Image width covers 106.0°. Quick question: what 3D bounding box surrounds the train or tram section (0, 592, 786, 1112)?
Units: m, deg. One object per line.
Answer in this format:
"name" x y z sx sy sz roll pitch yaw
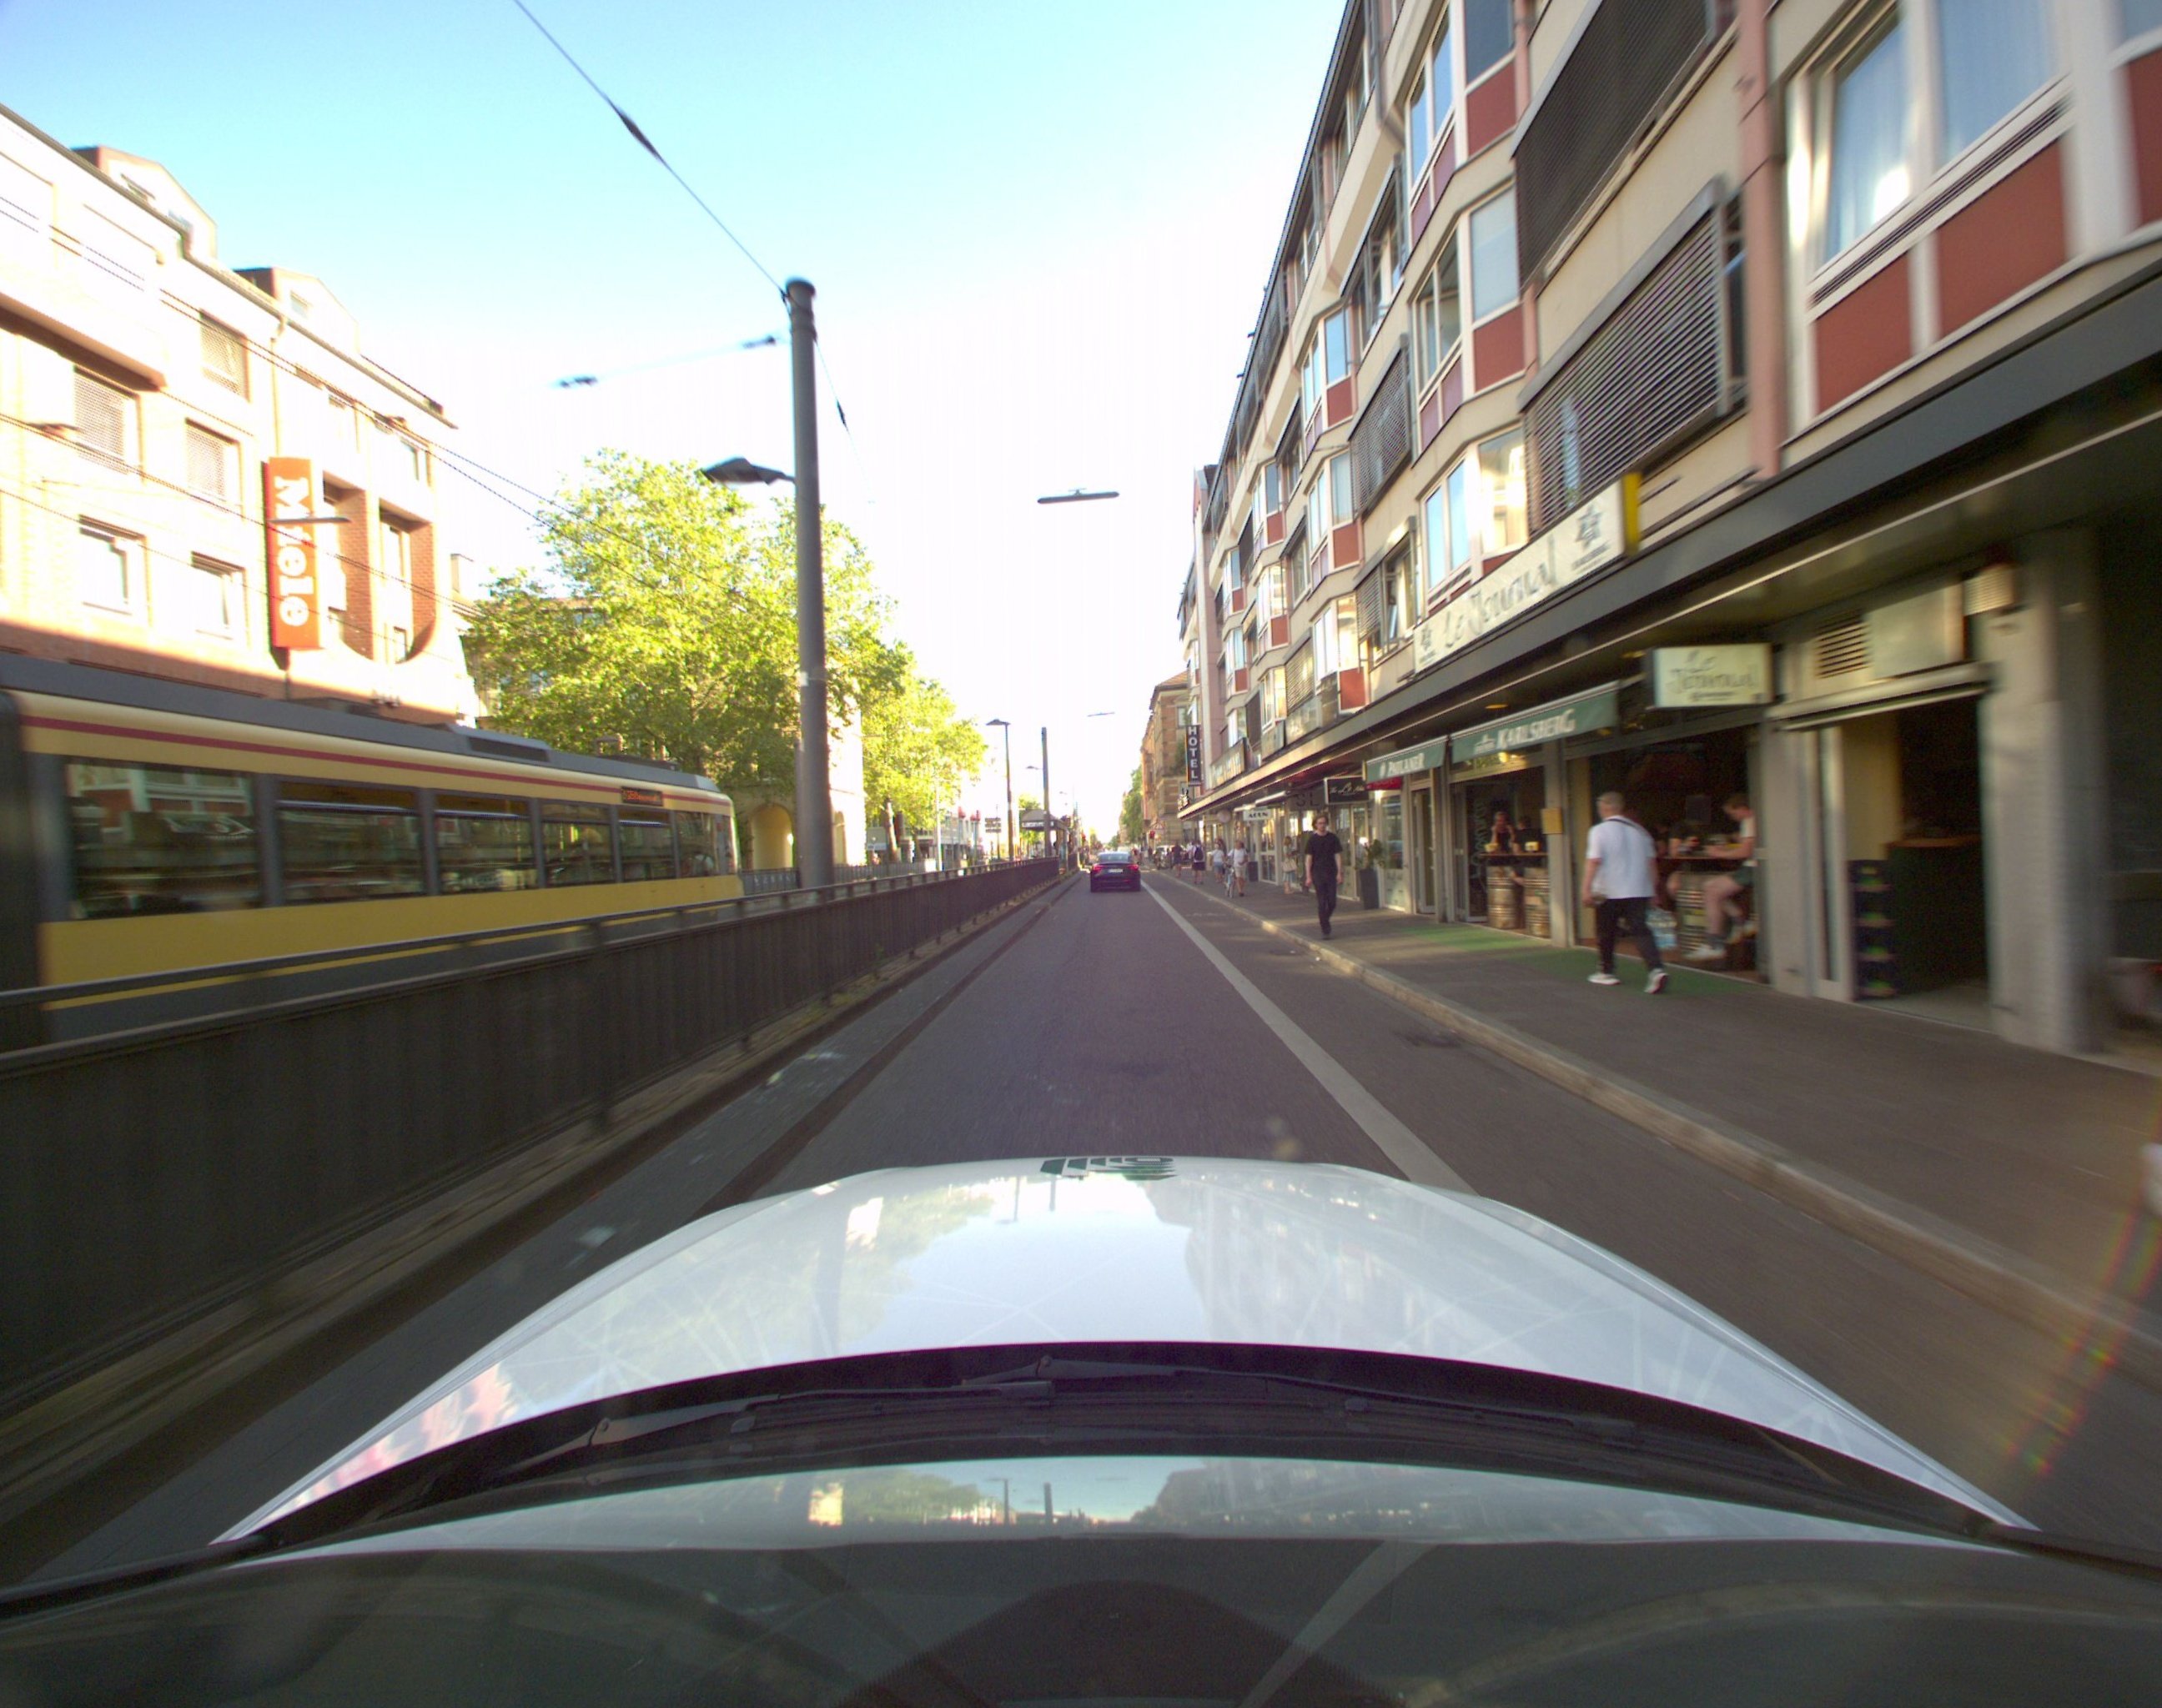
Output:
"train or tram section" -8.844 -0.099 11.124 2.962 3.644 16.496 -1 1 2

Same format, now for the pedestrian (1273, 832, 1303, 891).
"pedestrian" 5.741 0.209 22.595 0.598 1.590 0.554 -3 0 1

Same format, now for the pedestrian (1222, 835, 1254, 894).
"pedestrian" 4.568 0.302 23.741 0.660 1.630 0.705 -5 0 1

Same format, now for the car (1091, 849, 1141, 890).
"car" 1.276 0.536 30.497 1.713 1.405 3.711 -1 0 1

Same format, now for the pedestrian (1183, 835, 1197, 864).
"pedestrian" 7.873 -0.311 58.700 0.709 1.985 0.948 -3 -5 27

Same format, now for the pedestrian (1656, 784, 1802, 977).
"pedestrian" 5.909 0.232 7.461 0.723 1.636 0.639 -5 0 3

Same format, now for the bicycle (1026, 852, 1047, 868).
"bicycle" -4.409 0.556 80.091 1.959 1.516 0.629 -2 0 -27

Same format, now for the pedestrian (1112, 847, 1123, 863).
"pedestrian" 3.740 0.125 83.280 0.834 1.548 0.703 -2 0 29

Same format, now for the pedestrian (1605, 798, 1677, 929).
"pedestrian" 7.125 0.117 10.383 0.517 1.607 0.543 -2 0 7

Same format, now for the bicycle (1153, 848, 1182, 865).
"bicycle" 6.218 0.151 58.655 1.939 1.107 0.564 -3 0 0

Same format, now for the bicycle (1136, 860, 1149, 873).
"bicycle" 5.428 1.081 71.594 0.647 1.139 2.089 -2 0 -9

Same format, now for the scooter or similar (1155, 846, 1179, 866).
"scooter or similar" 5.847 0.144 55.329 1.473 1.229 0.592 -4 0 2

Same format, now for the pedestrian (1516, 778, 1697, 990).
"pedestrian" 4.847 0.258 7.603 0.903 1.775 1.050 -5 0 2

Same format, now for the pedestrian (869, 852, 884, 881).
"pedestrian" -14.788 0.908 58.876 0.695 2.013 0.693 -2 0 22

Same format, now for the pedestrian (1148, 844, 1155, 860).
"pedestrian" 7.761 -0.197 89.510 0.464 1.728 0.591 -3 1 38

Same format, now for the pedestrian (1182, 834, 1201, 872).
"pedestrian" 5.520 -0.051 40.559 0.703 1.820 0.764 -5 0 2

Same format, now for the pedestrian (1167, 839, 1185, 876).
"pedestrian" 4.719 0.166 40.285 0.665 1.728 0.810 -5 0 1

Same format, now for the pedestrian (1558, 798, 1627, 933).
"pedestrian" 6.414 0.141 10.228 0.513 1.632 0.523 -2 0 7

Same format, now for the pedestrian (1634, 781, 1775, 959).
"pedestrian" 6.289 0.151 8.252 0.770 1.674 0.696 -5 0 0

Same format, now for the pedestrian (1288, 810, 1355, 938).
"pedestrian" 3.720 0.292 12.654 0.672 1.861 0.993 -4 0 3

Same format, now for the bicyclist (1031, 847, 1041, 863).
"bicyclist" -4.440 0.091 80.081 0.683 1.516 0.629 -2 0 -27

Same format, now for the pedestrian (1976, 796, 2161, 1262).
"pedestrian" 3.855 0.568 2.761 0.663 1.521 0.789 -5 0 -2

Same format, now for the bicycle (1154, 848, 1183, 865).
"bicycle" 6.226 0.150 58.007 1.939 1.107 0.564 -3 0 0

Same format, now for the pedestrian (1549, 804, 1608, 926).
"pedestrian" 6.737 0.145 11.040 0.454 1.603 0.464 -2 0 2

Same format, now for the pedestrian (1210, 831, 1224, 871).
"pedestrian" 6.358 -0.140 38.152 0.449 1.849 0.812 -4 0 1

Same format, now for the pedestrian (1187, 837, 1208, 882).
"pedestrian" 4.586 0.216 32.058 0.741 1.727 0.815 -1 0 2

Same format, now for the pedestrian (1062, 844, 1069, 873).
"pedestrian" -0.909 0.239 47.606 0.350 1.669 0.529 -2 0 1

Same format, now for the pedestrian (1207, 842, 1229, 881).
"pedestrian" 5.431 0.296 32.254 0.633 1.483 0.654 -5 0 1

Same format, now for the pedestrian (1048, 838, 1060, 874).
"pedestrian" -1.197 0.105 36.118 0.422 1.573 0.448 -2 0 2

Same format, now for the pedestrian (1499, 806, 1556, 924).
"pedestrian" 6.289 0.152 11.488 0.454 1.603 0.530 -2 0 2

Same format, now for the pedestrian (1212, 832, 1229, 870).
"pedestrian" 6.617 -0.133 38.749 0.627 1.769 0.501 -4 0 2

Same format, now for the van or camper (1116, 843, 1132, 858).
"van or camper" 5.881 -0.460 111.751 1.924 2.037 5.477 -1 0 1

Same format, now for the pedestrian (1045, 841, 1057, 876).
"pedestrian" -1.369 0.210 37.207 0.422 1.573 0.593 -2 0 2

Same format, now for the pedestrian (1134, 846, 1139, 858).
"pedestrian" 8.311 -0.323 122.381 0.670 1.814 0.756 -2 -1 1

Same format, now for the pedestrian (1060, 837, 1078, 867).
"pedestrian" -0.743 -0.110 50.574 0.775 1.831 0.796 -1 -1 -28

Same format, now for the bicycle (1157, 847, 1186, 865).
"bicycle" 6.215 0.143 55.976 1.939 1.107 0.564 -3 0 0

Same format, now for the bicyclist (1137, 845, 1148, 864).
"bicyclist" 5.392 0.030 71.561 0.655 1.655 0.924 -2 0 -9

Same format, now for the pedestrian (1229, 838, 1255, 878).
"pedestrian" 6.139 0.148 31.066 0.735 1.472 0.707 -5 0 2

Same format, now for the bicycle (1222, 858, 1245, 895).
"bicycle" 4.423 0.639 23.661 0.301 0.990 1.760 -4 0 1
